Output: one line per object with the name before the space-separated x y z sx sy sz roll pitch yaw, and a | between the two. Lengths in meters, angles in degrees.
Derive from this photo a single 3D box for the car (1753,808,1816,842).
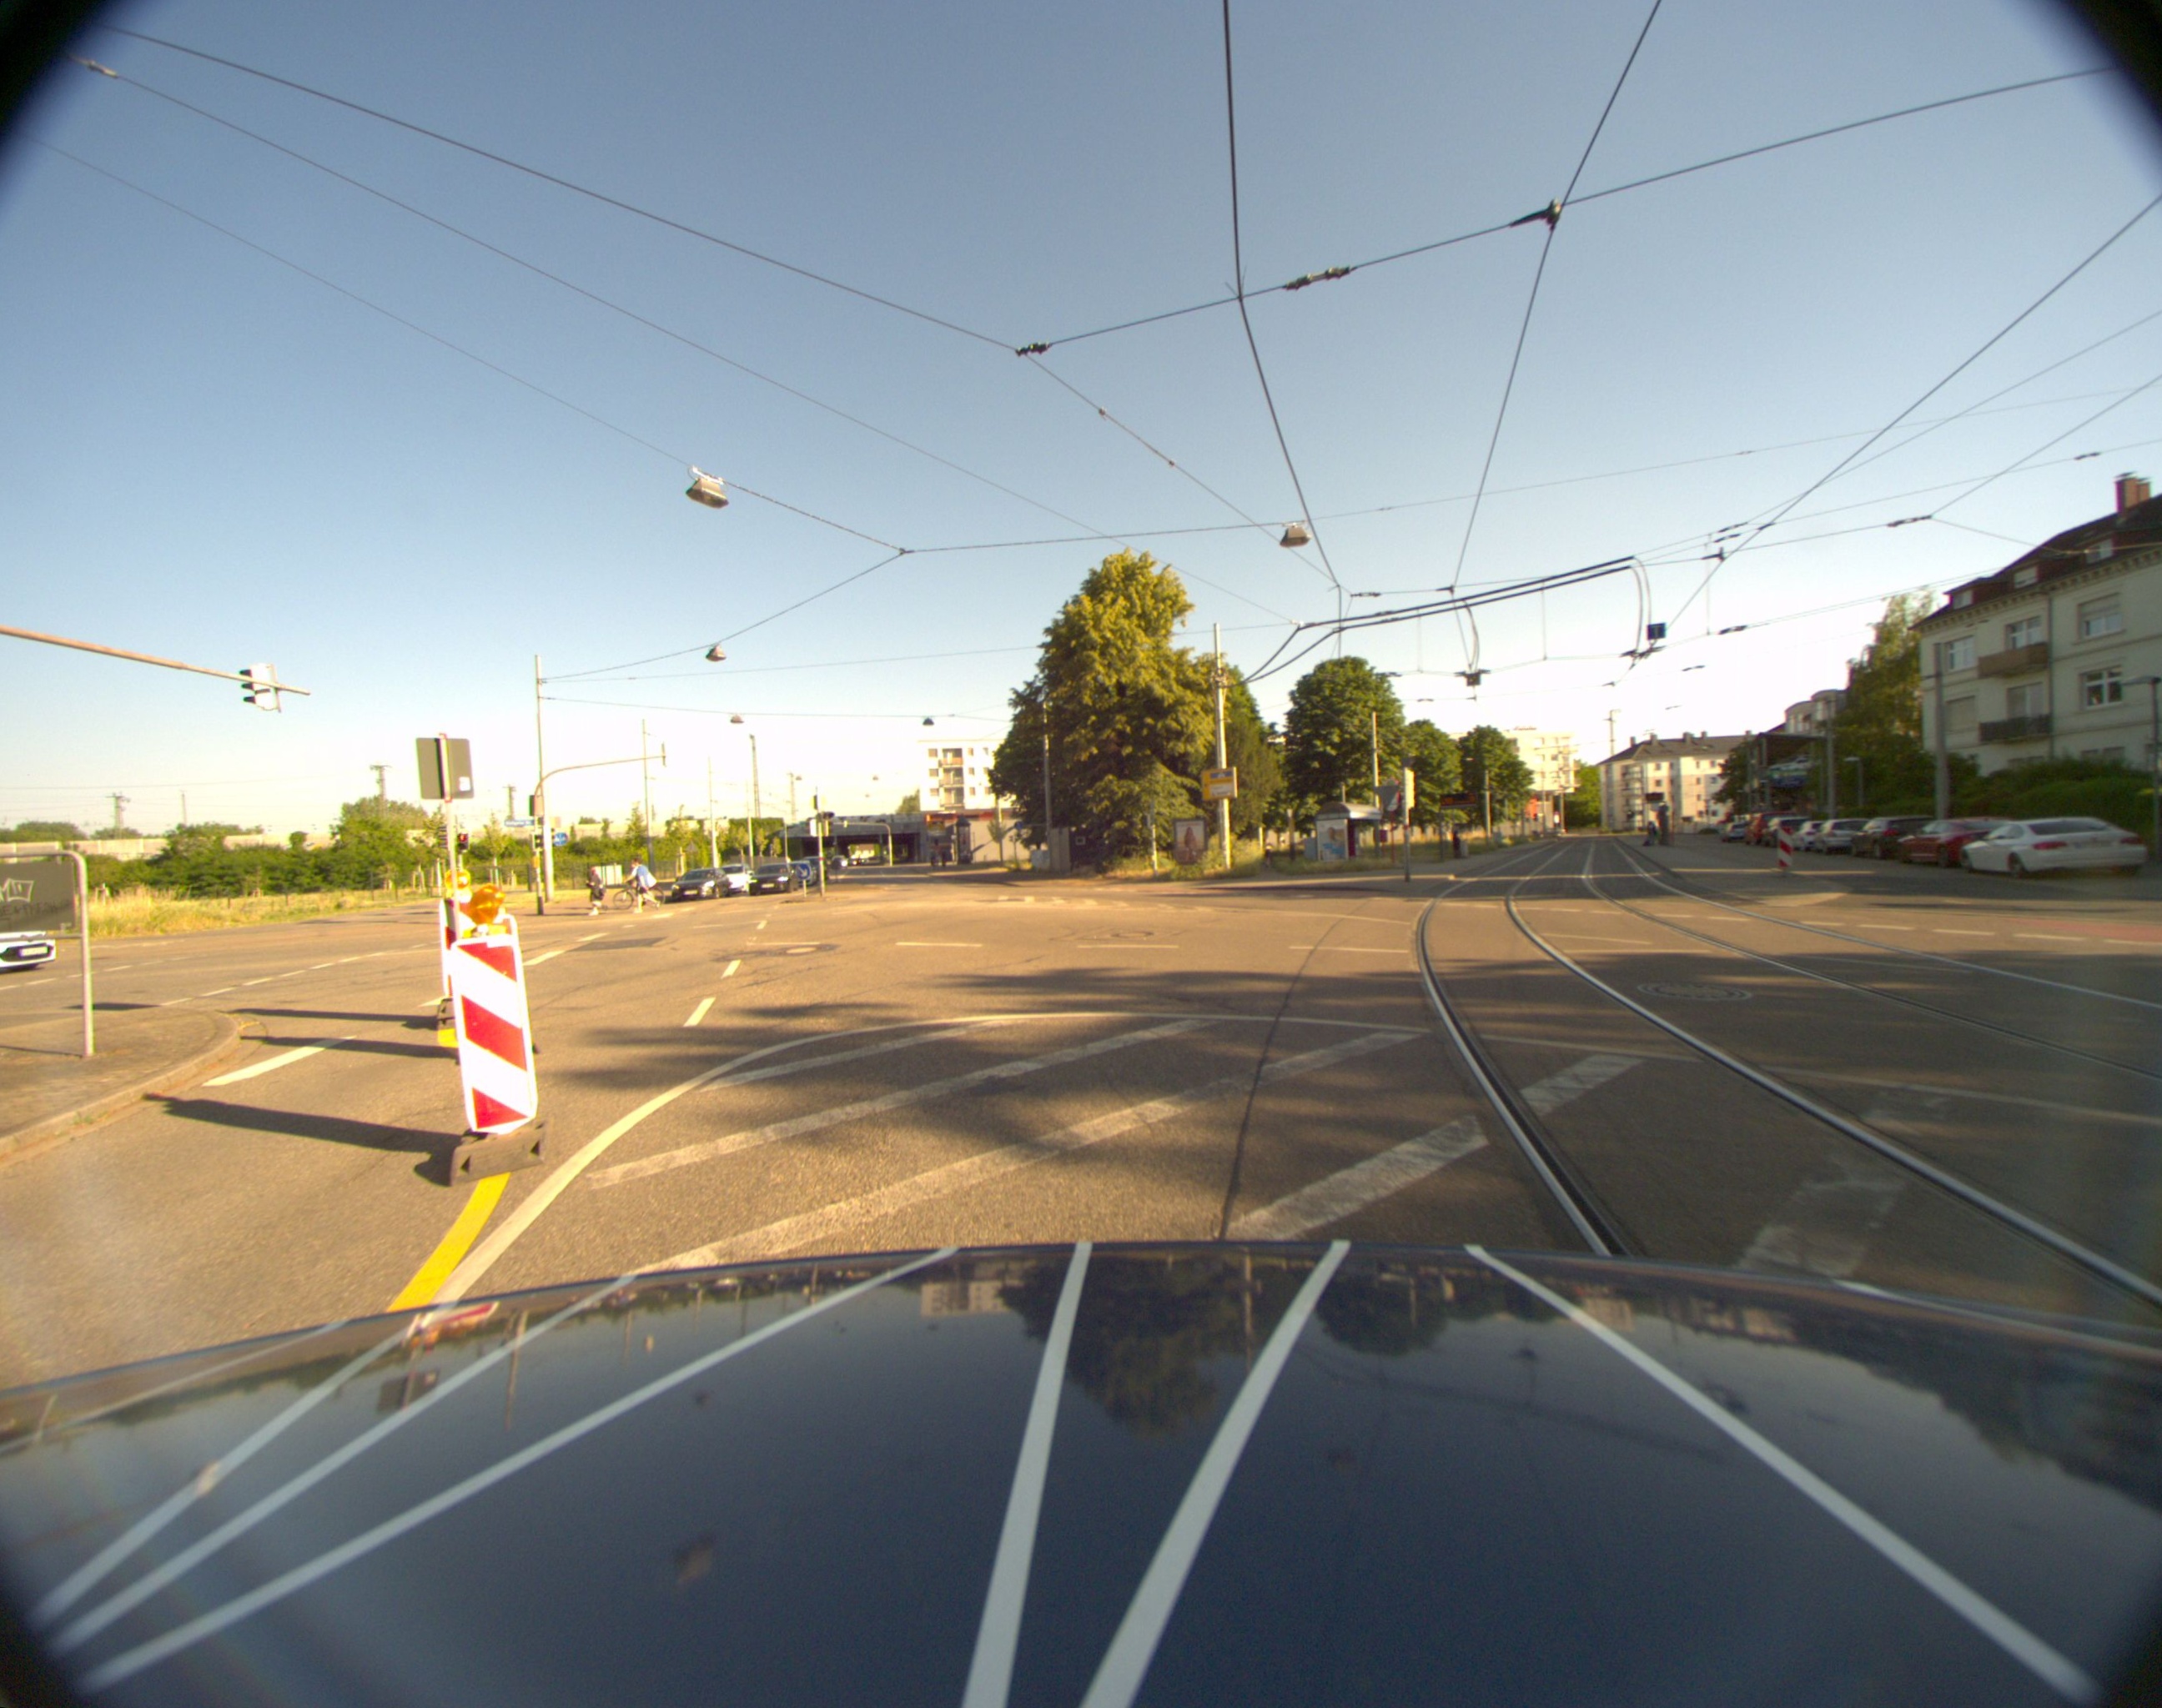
car | 38.850 -1.635 42.072 1.840 1.658 4.377 -4 0 34

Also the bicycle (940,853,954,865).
bicycle | -11.838 0.450 67.115 0.664 1.063 2.015 -3 2 -24

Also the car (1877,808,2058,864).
car | 26.295 -0.567 22.790 1.982 1.368 4.713 -4 0 30

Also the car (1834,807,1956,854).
car | 29.619 -0.890 27.834 1.982 1.439 4.713 -4 0 34

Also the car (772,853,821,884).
car | -16.328 0.810 43.846 2.001 1.558 4.450 -3 1 -13

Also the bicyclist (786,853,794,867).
bicyclist | -34.587 0.753 90.193 0.777 1.596 0.856 -2 1 -16

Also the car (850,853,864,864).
car | -36.536 0.690 123.939 2.001 1.694 3.993 -3 1 -18

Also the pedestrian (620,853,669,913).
pedestrian | -14.539 0.941 25.349 1.068 1.914 0.913 -3 2 -12

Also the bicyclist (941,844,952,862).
bicyclist | -11.857 -0.088 67.133 0.661 1.523 1.035 -4 2 -24

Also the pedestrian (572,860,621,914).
pedestrian | -16.396 1.087 25.754 1.068 1.737 0.913 -3 1 -12

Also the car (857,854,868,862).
car | -46.304 0.860 161.065 2.000 1.694 3.995 -3 1 -12

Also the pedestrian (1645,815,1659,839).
pedestrian | 36.551 -1.703 48.651 0.680 1.492 0.566 -4 2 -43

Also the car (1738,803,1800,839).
car | 42.677 -2.084 47.269 2.051 1.950 5.160 -4 0 34

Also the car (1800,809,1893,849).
car | 31.924 -1.073 31.806 1.982 1.439 3.725 -4 0 34

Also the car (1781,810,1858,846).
car | 34.525 -1.242 35.629 1.840 1.439 3.965 -4 0 34

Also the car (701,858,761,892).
car | -18.607 1.070 40.562 2.001 1.558 4.269 -3 1 -13

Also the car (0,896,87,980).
car | -21.903 1.684 14.133 3.777 1.460 1.703 -3 2 -17

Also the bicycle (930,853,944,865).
bicycle | -12.637 0.446 66.542 0.664 1.063 2.015 -3 1 -25

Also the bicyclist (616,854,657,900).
bicyclist | -16.540 0.852 28.283 1.042 1.620 0.712 -3 2 -13

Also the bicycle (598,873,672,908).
bicycle | -16.582 1.356 28.301 2.202 1.136 0.699 -3 2 -13

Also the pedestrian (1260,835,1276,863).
pedestrian | 10.364 -0.273 42.165 0.670 1.484 0.850 -2 1 1

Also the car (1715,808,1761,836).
car | 50.933 -2.481 59.011 2.051 1.950 5.160 -4 0 34

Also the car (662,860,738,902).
car | -17.099 1.173 34.338 2.000 1.558 4.269 -4 2 -13

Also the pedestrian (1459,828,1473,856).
pedestrian | 20.285 -0.620 40.060 0.596 1.419 0.506 -2 2 27

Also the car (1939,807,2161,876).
car | 23.294 -0.343 18.524 1.926 1.368 4.504 -4 0 33

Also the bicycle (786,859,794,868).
bicycle | -34.575 1.142 90.186 0.664 1.063 2.016 -3 1 -15

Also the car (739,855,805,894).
car | -14.487 0.920 35.860 2.054 1.558 4.445 -3 1 -12

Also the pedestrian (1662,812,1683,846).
pedestrian | 35.935 -1.528 46.170 0.921 2.002 0.770 -1 2 39

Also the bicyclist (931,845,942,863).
bicyclist | -12.652 -0.015 66.511 0.699 1.523 1.035 -4 2 -25
